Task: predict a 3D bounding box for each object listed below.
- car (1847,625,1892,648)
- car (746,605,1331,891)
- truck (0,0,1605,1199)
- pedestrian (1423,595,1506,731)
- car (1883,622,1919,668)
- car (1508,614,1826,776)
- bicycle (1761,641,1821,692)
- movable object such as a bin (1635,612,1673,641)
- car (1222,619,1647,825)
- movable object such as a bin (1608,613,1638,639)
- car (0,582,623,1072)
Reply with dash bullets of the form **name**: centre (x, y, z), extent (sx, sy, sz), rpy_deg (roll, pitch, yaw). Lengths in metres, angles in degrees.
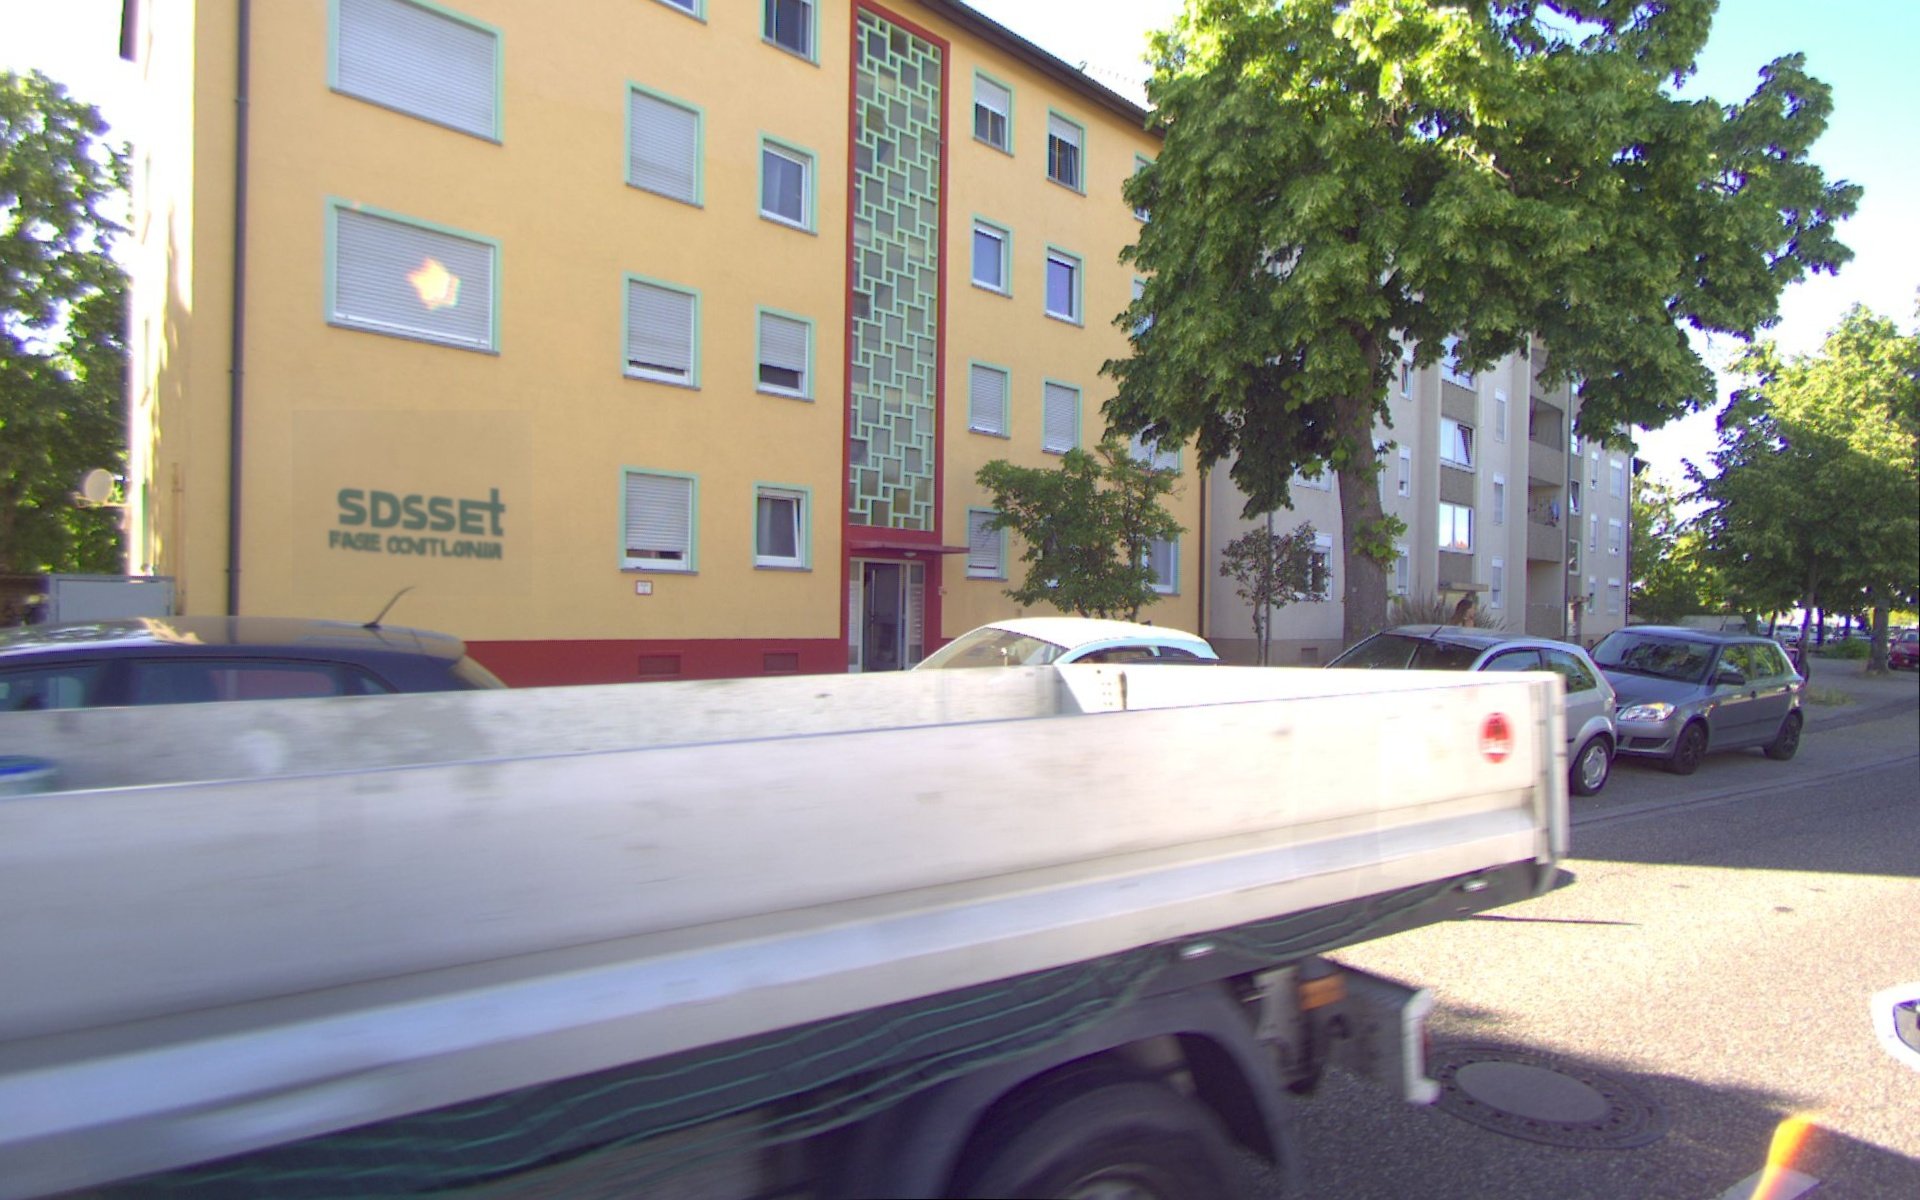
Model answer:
- **car**: centre (73.896, 2.932, 81.642), extent (1.977, 1.747, 4.284), rpy_deg (1, -1, 32)
- **car**: centre (0.692, 0.905, 7.250), extent (4.010, 1.543, 1.690), rpy_deg (3, -2, -34)
- **truck**: centre (-1.769, 0.361, 1.672), extent (6.366, 2.365, 2.120), rpy_deg (2, -1, -30)
- **pedestrian**: centre (6.704, 0.823, 13.353), extent (0.712, 1.740, 0.682), rpy_deg (3, -2, -32)
- **car**: centre (33.826, 1.585, 35.453), extent (1.669, 1.511, 4.269), rpy_deg (3, 0, 41)
- **car**: centre (8.487, 1.021, 11.995), extent (3.872, 1.551, 1.560), rpy_deg (1, 4, -30)
- **bicycle**: centre (16.886, 1.337, 20.401), extent (1.864, 0.981, 0.365), rpy_deg (1, -1, -32)
- **movable object such as a bin**: centre (36.741, 1.388, 53.158), extent (1.501, 1.446, 1.082), rpy_deg (1, -2, 43)
- **car**: centre (4.525, 0.989, 9.460), extent (3.953, 1.530, 1.650), rpy_deg (1, 1, -30)
- **movable object such as a bin**: centre (35.730, 1.395, 54.116), extent (1.159, 1.338, 1.082), rpy_deg (1, -2, 43)
- **car**: centre (-3.586, 0.715, 3.830), extent (4.012, 1.500, 1.689), rpy_deg (3, 1, -35)
